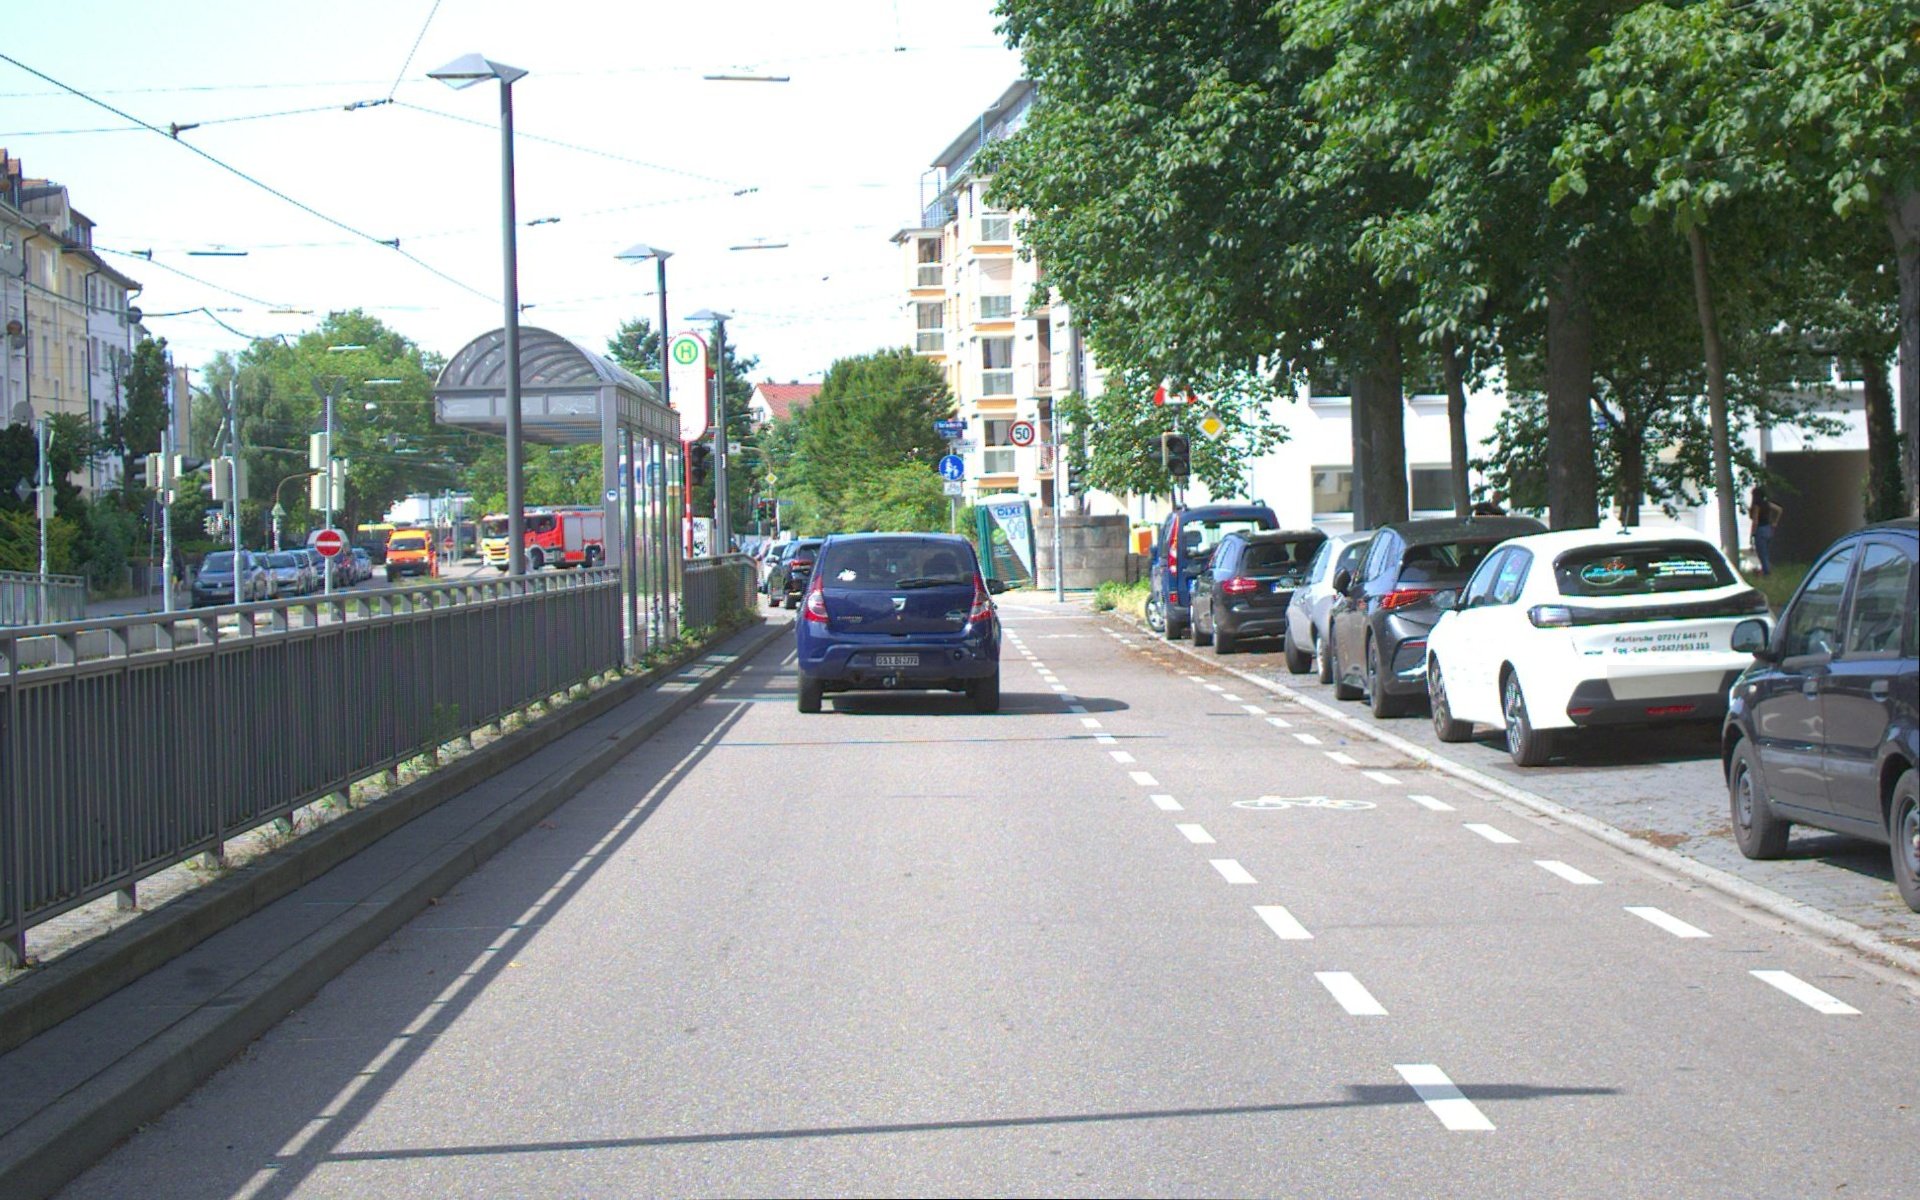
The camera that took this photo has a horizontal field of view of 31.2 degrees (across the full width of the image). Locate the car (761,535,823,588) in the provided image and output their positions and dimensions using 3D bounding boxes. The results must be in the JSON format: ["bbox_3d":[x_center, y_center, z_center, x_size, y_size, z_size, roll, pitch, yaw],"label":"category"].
[{"bbox_3d":[-4.807,-1.100,98.314,1.622,1.460,3.511,0,1,-5],"label":"car"}]

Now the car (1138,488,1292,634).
[{"bbox_3d":[3.544,-0.592,48.424,1.823,1.889,4.184,-3,2,1],"label":"car"}]

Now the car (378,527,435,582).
[{"bbox_3d":[-24.040,-1.985,149.110,1.993,2.267,4.835,2,1,-13],"label":"car"}]

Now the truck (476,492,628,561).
[{"bbox_3d":[-20.839,-3.800,176.100,2.601,3.175,8.366,-2,1,37],"label":"truck"}]

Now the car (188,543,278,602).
[{"bbox_3d":[-20.673,-0.798,97.897,1.993,1.639,4.001,0,1,-5],"label":"car"}]

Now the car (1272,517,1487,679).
[{"bbox_3d":[4.104,-0.049,34.073,1.590,1.440,3.598,-3,1,0],"label":"car"}]

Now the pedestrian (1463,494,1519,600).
[{"bbox_3d":[8.674,-0.869,56.206,0.744,1.690,0.767,-2,1,0],"label":"pedestrian"}]

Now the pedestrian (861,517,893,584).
[{"bbox_3d":[-2.308,-1.380,95.708,0.701,1.783,1.030,-4,1,-5],"label":"pedestrian"}]

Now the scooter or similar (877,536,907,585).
[{"bbox_3d":[-1.871,-1.092,94.868,0.662,1.299,0.869,-5,2,-5],"label":"scooter or similar"}]

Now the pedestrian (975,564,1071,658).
[{"bbox_3d":[1.352,0.211,75.273,1.993,2.007,4.000,0,1,0],"label":"pedestrian"}]

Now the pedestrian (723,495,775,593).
[{"bbox_3d":[-3.643,-0.961,59.476,0.845,1.662,0.799,-2,1,-3],"label":"pedestrian"}]

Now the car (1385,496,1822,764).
[{"bbox_3d":[4.183,0.143,23.063,1.835,1.518,4.254,-4,1,-3],"label":"car"}]

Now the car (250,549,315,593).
[{"bbox_3d":[-22.402,-0.972,113.821,1.768,1.437,4.001,0,1,-6],"label":"car"}]

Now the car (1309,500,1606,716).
[{"bbox_3d":[4.049,0.004,28.661,1.725,1.578,4.677,-3,1,0],"label":"car"}]

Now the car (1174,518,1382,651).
[{"bbox_3d":[3.917,-0.243,43.074,1.917,1.437,4.797,-4,2,-2],"label":"car"}]

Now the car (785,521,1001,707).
[{"bbox_3d":[-0.591,0.092,29.935,1.744,1.502,4.000,0,1,-1],"label":"car"}]

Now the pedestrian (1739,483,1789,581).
[{"bbox_3d":[13.182,-1.113,56.356,0.631,1.590,0.540,-2,0,-3],"label":"pedestrian"}]

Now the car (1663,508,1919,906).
[{"bbox_3d":[4.219,0.343,14.326,1.555,1.456,3.559,-5,1,-3],"label":"car"}]
